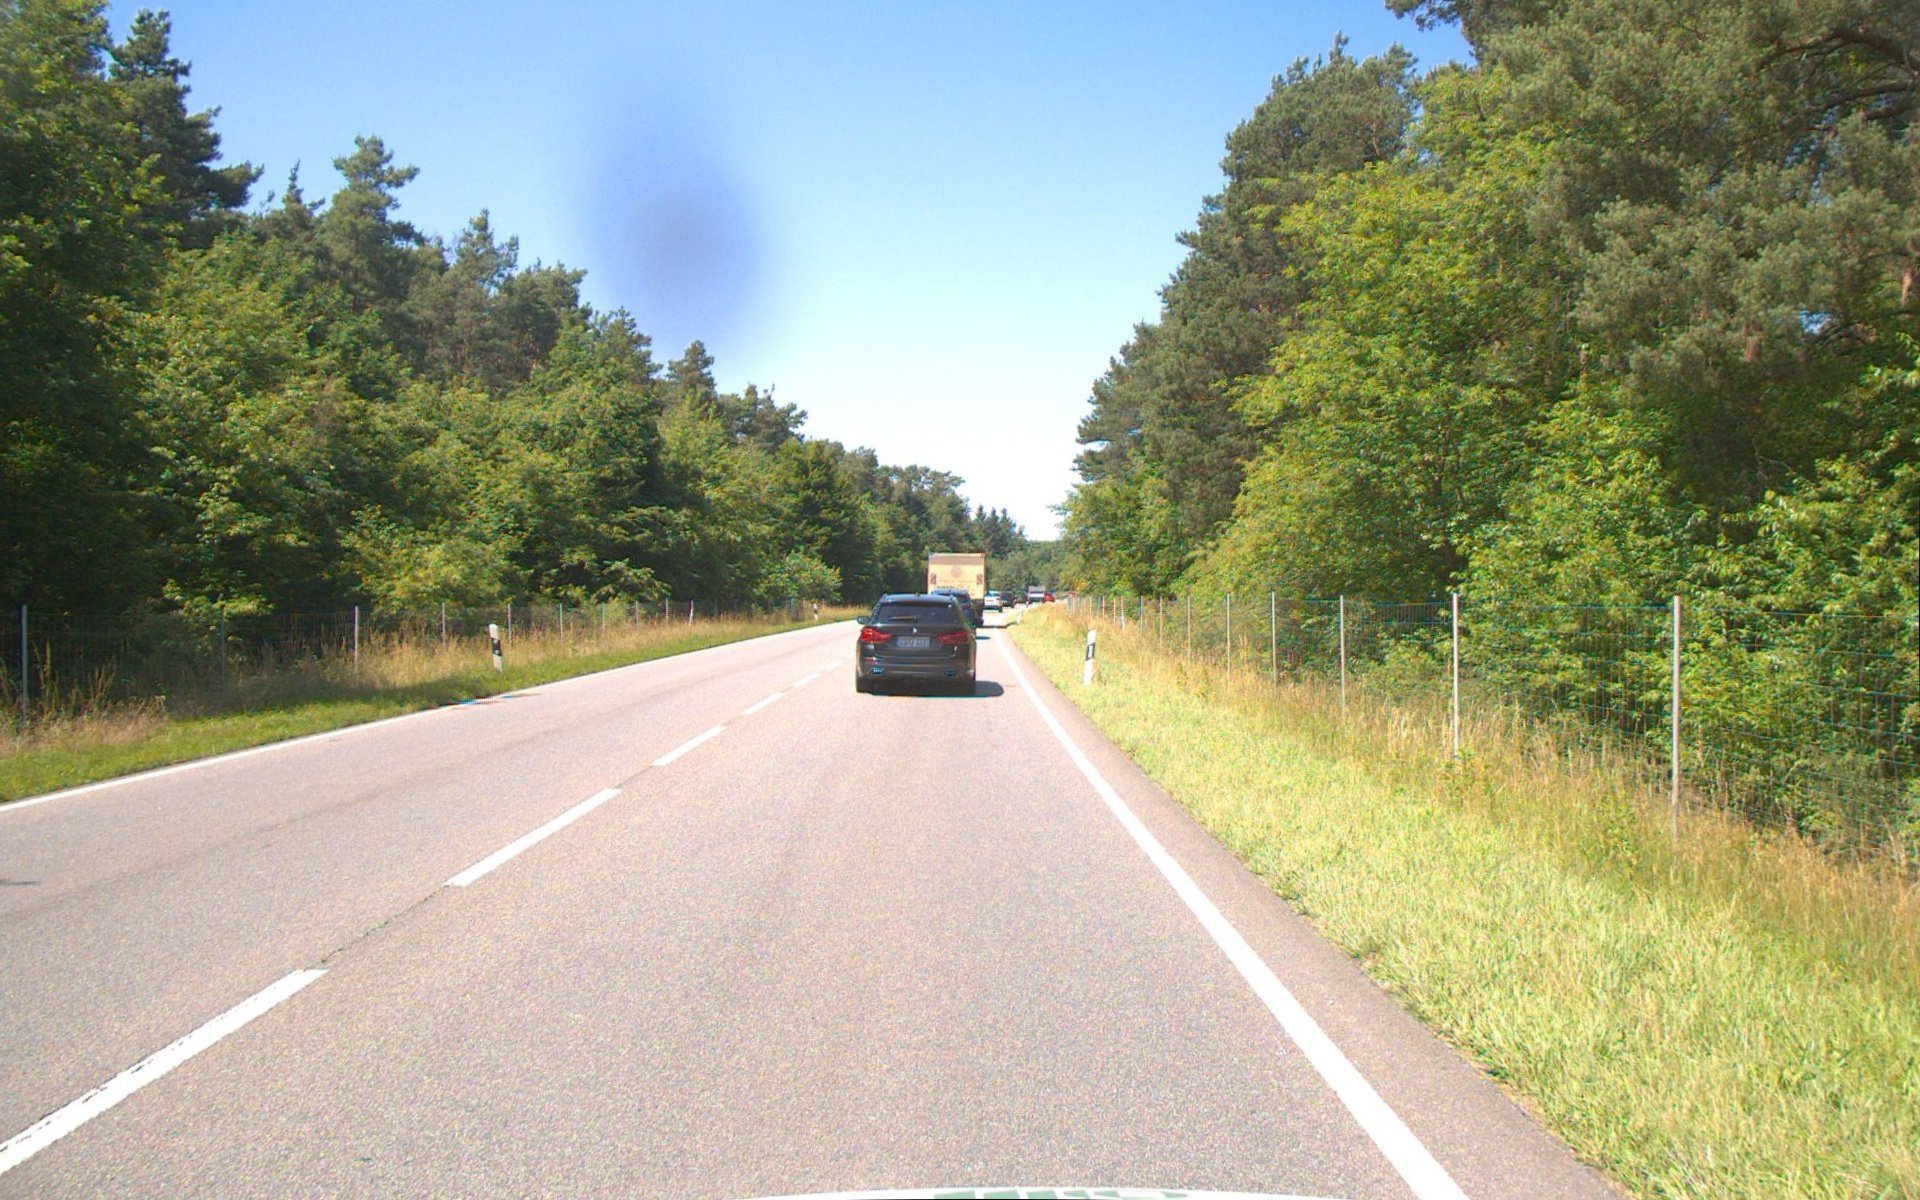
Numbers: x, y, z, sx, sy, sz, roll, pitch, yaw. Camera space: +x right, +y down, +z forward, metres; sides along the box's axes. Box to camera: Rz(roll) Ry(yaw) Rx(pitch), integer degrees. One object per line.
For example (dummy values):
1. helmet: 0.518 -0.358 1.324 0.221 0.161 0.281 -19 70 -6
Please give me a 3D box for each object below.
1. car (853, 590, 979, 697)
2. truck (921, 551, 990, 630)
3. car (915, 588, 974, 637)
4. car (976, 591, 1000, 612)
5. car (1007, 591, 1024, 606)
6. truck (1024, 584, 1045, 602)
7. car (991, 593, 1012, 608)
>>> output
1. car: -0.730 0.620 25.941 1.784 1.496 3.998 2 0 -3
2. truck: -0.282 -0.458 75.622 2.906 3.447 6.435 0 0 -2
3. car: -0.542 0.406 56.365 1.908 1.568 3.999 -1 0 -1
4. car: 2.251 0.106 132.915 1.825 1.633 3.999 0 0 -1
5. car: 6.598 -0.163 196.397 1.952 1.665 4.001 -1 0 2
6. truck: 9.945 -0.939 220.091 2.509 2.240 4.978 -1 1 6
7. car: 4.063 0.056 163.194 1.953 1.445 3.999 1 1 -1
